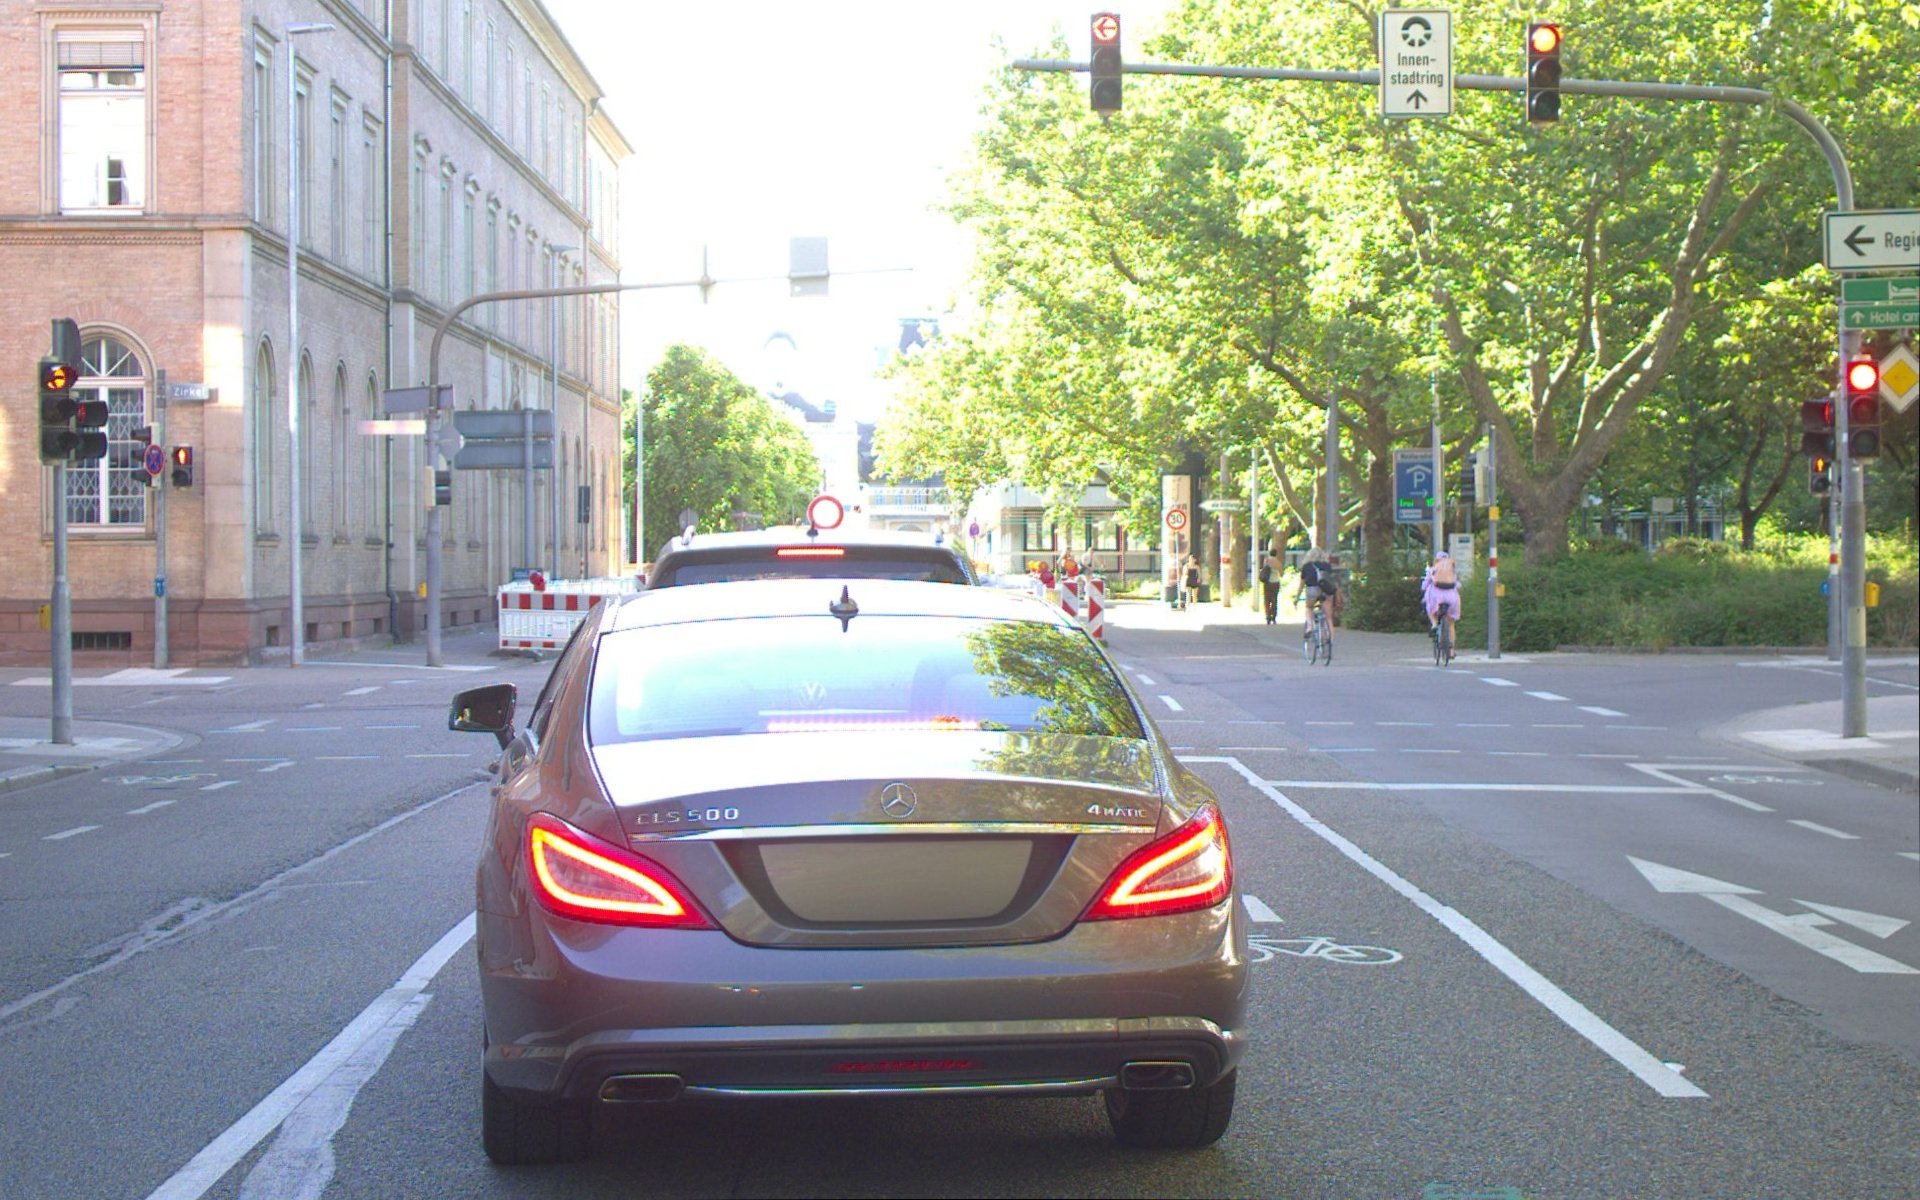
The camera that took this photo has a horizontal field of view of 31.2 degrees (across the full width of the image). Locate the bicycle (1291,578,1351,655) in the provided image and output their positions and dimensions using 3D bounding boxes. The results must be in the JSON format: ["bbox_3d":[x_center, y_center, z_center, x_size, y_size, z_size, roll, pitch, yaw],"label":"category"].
[{"bbox_3d":[5.034,0.224,48.031,0.610,1.023,1.731,1,1,-1],"label":"bicycle"}]

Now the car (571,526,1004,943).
[{"bbox_3d":[-0.732,0.496,15.293,1.681,1.619,3.841,0,1,-2],"label":"car"}]

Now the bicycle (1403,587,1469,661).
[{"bbox_3d":[6.648,0.329,48.072,0.600,0.981,1.881,2,1,-1],"label":"bicycle"}]

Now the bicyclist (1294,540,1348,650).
[{"bbox_3d":[5.043,-0.078,48.080,0.610,1.511,0.890,1,1,-1],"label":"bicyclist"}]

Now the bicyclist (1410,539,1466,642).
[{"bbox_3d":[6.665,-0.138,47.940,0.600,1.397,0.931,2,1,-1],"label":"bicyclist"}]

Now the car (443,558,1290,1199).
[{"bbox_3d":[-0.465,0.620,9.527,1.821,1.471,4.354,0,1,-7],"label":"car"}]

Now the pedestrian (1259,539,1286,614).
[{"bbox_3d":[7.072,-0.536,77.811,0.559,1.672,0.564,0,1,-1],"label":"pedestrian"}]

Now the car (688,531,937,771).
[{"bbox_3d":[-1.058,0.318,25.096,1.681,1.619,3.841,0,1,-2],"label":"car"}]
